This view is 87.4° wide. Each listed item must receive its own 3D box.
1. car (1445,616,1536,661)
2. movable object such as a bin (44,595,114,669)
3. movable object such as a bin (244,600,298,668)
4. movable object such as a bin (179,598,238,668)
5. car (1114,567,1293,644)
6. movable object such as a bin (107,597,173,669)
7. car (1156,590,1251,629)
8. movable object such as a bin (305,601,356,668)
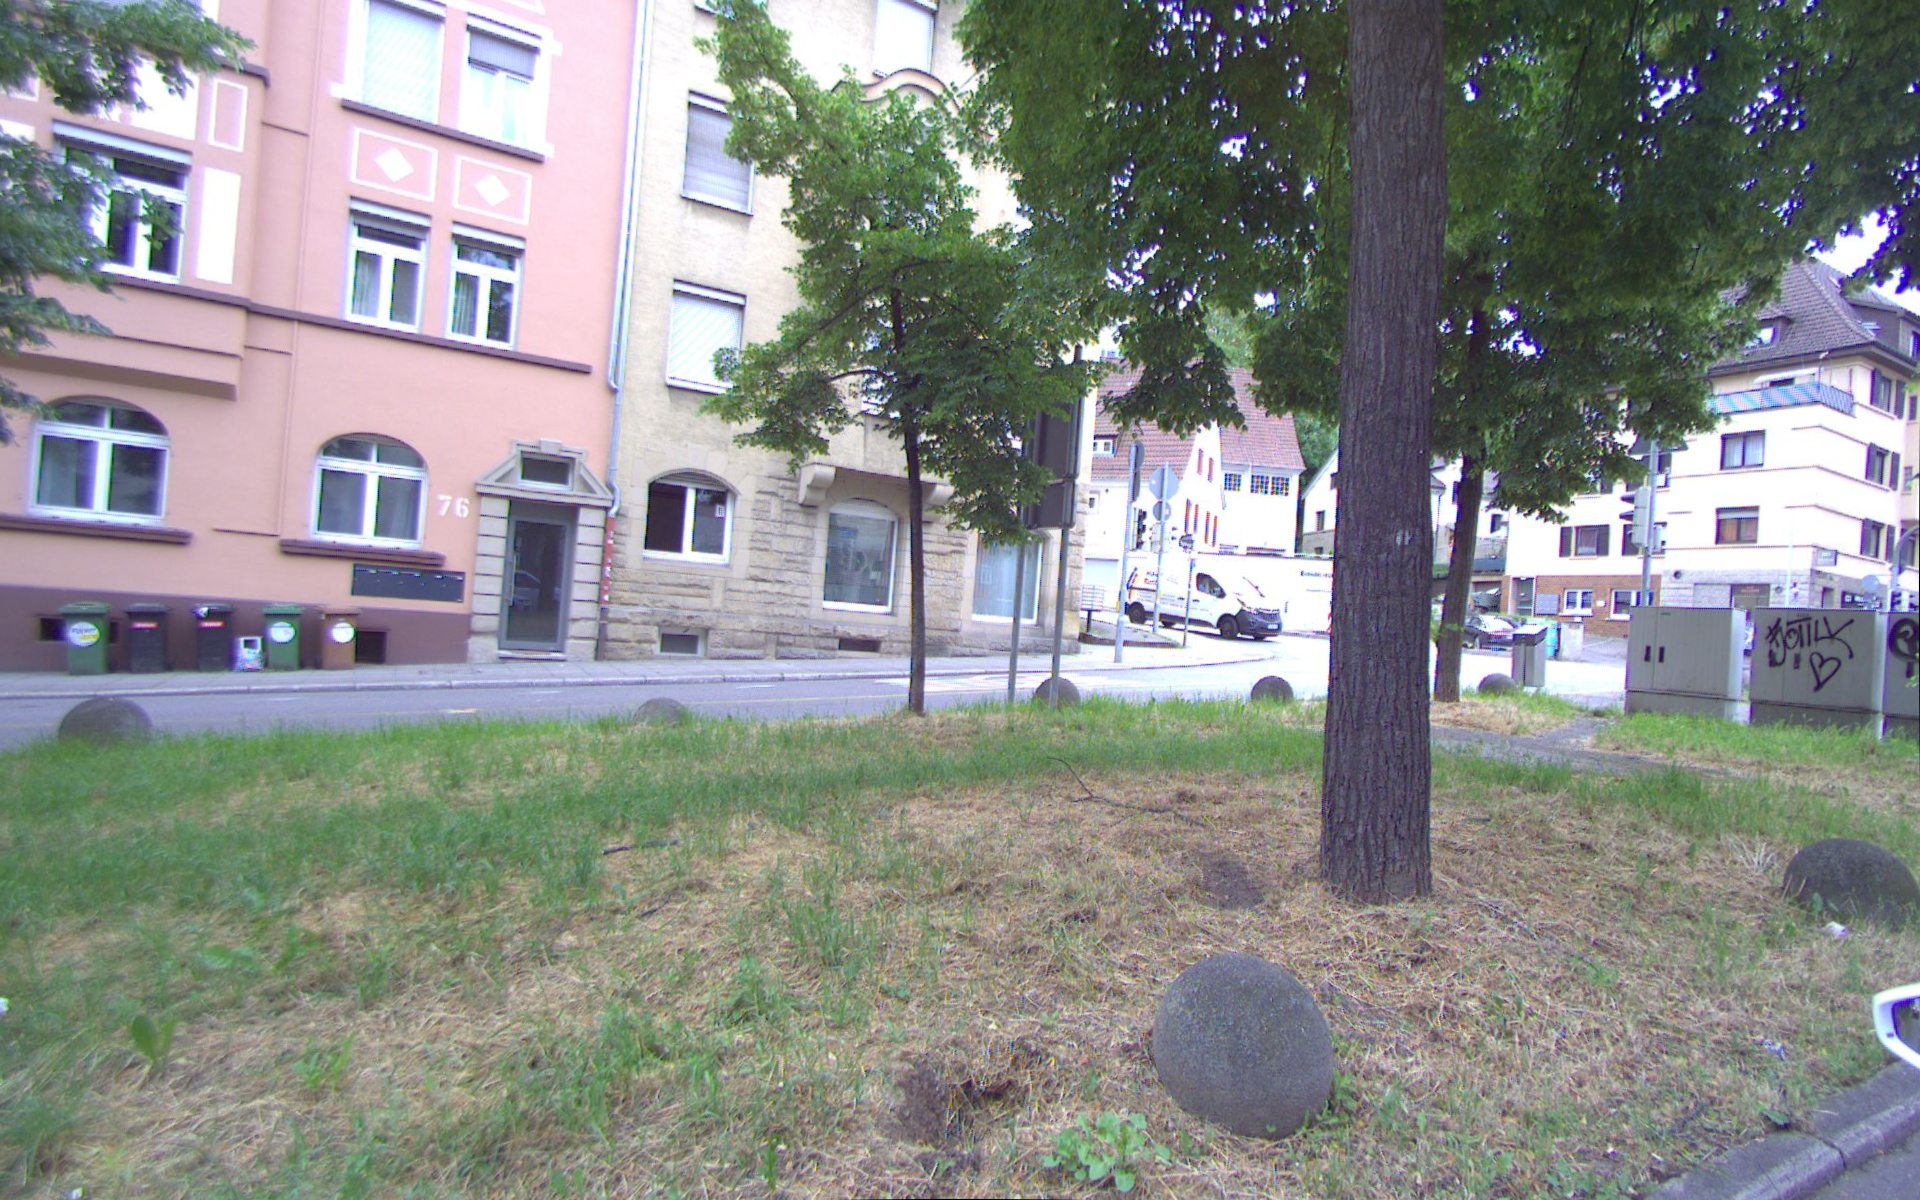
[{"bbox_3d":[21.778,1.551,41.411,1.844,1.687,4.002,3,-1,5],"label":"car"},{"bbox_3d":[-11.528,0.408,13.159,0.595,0.916,0.605,1,2,-33],"label":"movable object such as a bin"},{"bbox_3d":[-9.690,0.473,14.144,0.595,0.916,0.605,1,2,-33],"label":"movable object such as a bin"},{"bbox_3d":[-10.337,0.451,13.834,0.595,0.916,0.605,1,2,-33],"label":"movable object such as a bin"},{"bbox_3d":[7.417,0.104,31.076,1.980,2.092,5.121,1,2,-41],"label":"car"},{"bbox_3d":[-10.981,0.429,13.467,0.595,0.916,0.605,1,2,-33],"label":"movable object such as a bin"},{"bbox_3d":[10.810,0.395,44.581,3.920,1.530,1.800,2,1,18],"label":"car"},{"bbox_3d":[-9.078,0.490,14.494,0.595,0.916,0.605,1,2,-33],"label":"movable object such as a bin"}]
